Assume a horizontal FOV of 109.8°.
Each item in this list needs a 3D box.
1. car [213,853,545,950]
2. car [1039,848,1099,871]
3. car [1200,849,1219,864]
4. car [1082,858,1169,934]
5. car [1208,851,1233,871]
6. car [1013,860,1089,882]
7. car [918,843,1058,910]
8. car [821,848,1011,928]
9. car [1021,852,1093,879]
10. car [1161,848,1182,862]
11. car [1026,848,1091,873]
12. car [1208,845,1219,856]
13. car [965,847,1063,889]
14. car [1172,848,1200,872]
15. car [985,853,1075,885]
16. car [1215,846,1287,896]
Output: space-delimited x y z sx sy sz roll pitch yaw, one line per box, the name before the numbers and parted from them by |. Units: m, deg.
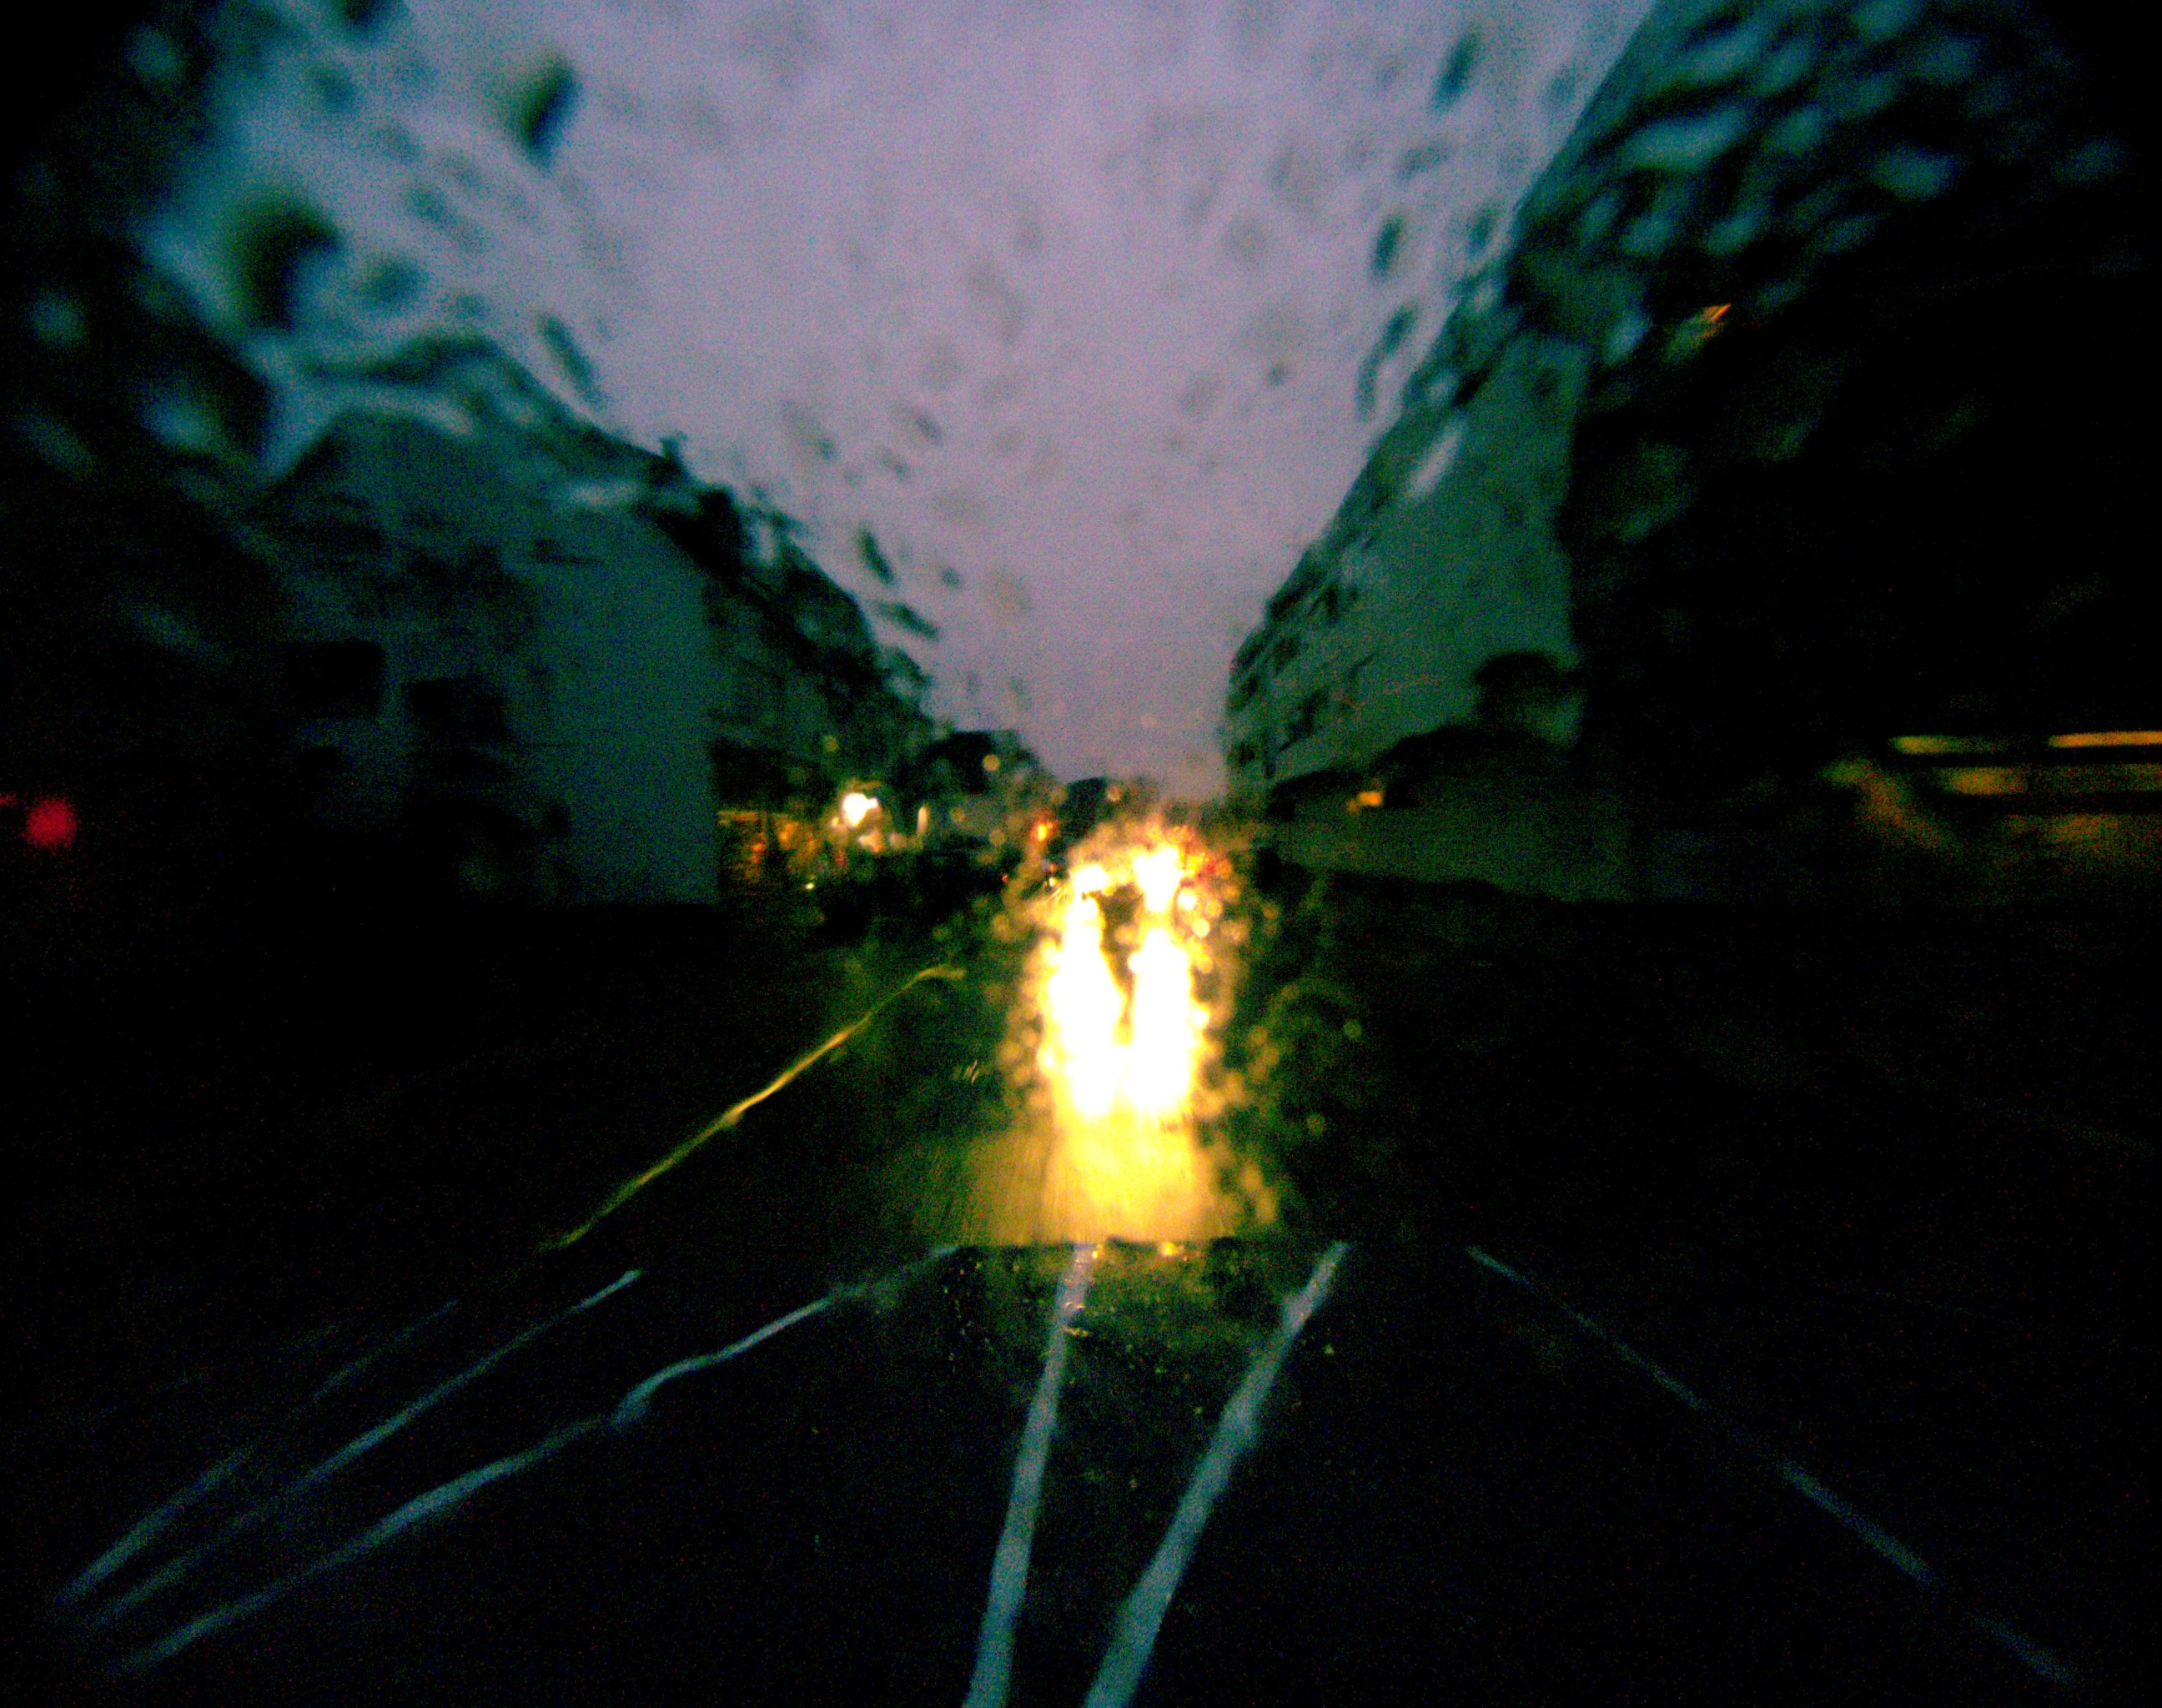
car | -11.755 0.766 12.933 3.997 1.521 1.745 0 0 -1
car | -0.755 0.347 49.643 3.887 1.487 1.551 0 0 1
car | 13.194 0.217 77.977 1.777 1.441 3.829 -1 0 10
car | 1.093 0.862 17.300 1.730 1.475 3.605 -2 0 6
car | 10.422 0.512 56.973 1.777 1.441 3.829 -1 0 10
car | -1.544 0.870 39.766 3.887 1.121 1.551 0 0 2
car | -2.637 0.628 22.183 3.889 1.866 1.868 0 0 -3
car | -3.554 0.722 16.826 3.852 1.618 1.611 1 0 -2
car | -1.318 0.625 42.551 3.887 1.487 1.551 0 0 2
car | 10.781 0.143 90.167 1.921 1.608 3.873 -1 0 16
car | -1.383 0.387 47.044 3.887 1.487 1.551 0 0 2
car | 25.621 -0.675 146.867 1.835 2.002 3.704 -1 0 14
car | -2.742 0.565 31.784 3.887 1.722 1.714 0 0 2
car | 7.755 0.427 56.115 1.892 1.670 4.002 -1 0 8
car | -2.250 0.650 34.228 3.887 1.359 1.551 0 0 2
car | 5.982 0.564 27.170 1.899 1.607 3.827 -1 0 3
